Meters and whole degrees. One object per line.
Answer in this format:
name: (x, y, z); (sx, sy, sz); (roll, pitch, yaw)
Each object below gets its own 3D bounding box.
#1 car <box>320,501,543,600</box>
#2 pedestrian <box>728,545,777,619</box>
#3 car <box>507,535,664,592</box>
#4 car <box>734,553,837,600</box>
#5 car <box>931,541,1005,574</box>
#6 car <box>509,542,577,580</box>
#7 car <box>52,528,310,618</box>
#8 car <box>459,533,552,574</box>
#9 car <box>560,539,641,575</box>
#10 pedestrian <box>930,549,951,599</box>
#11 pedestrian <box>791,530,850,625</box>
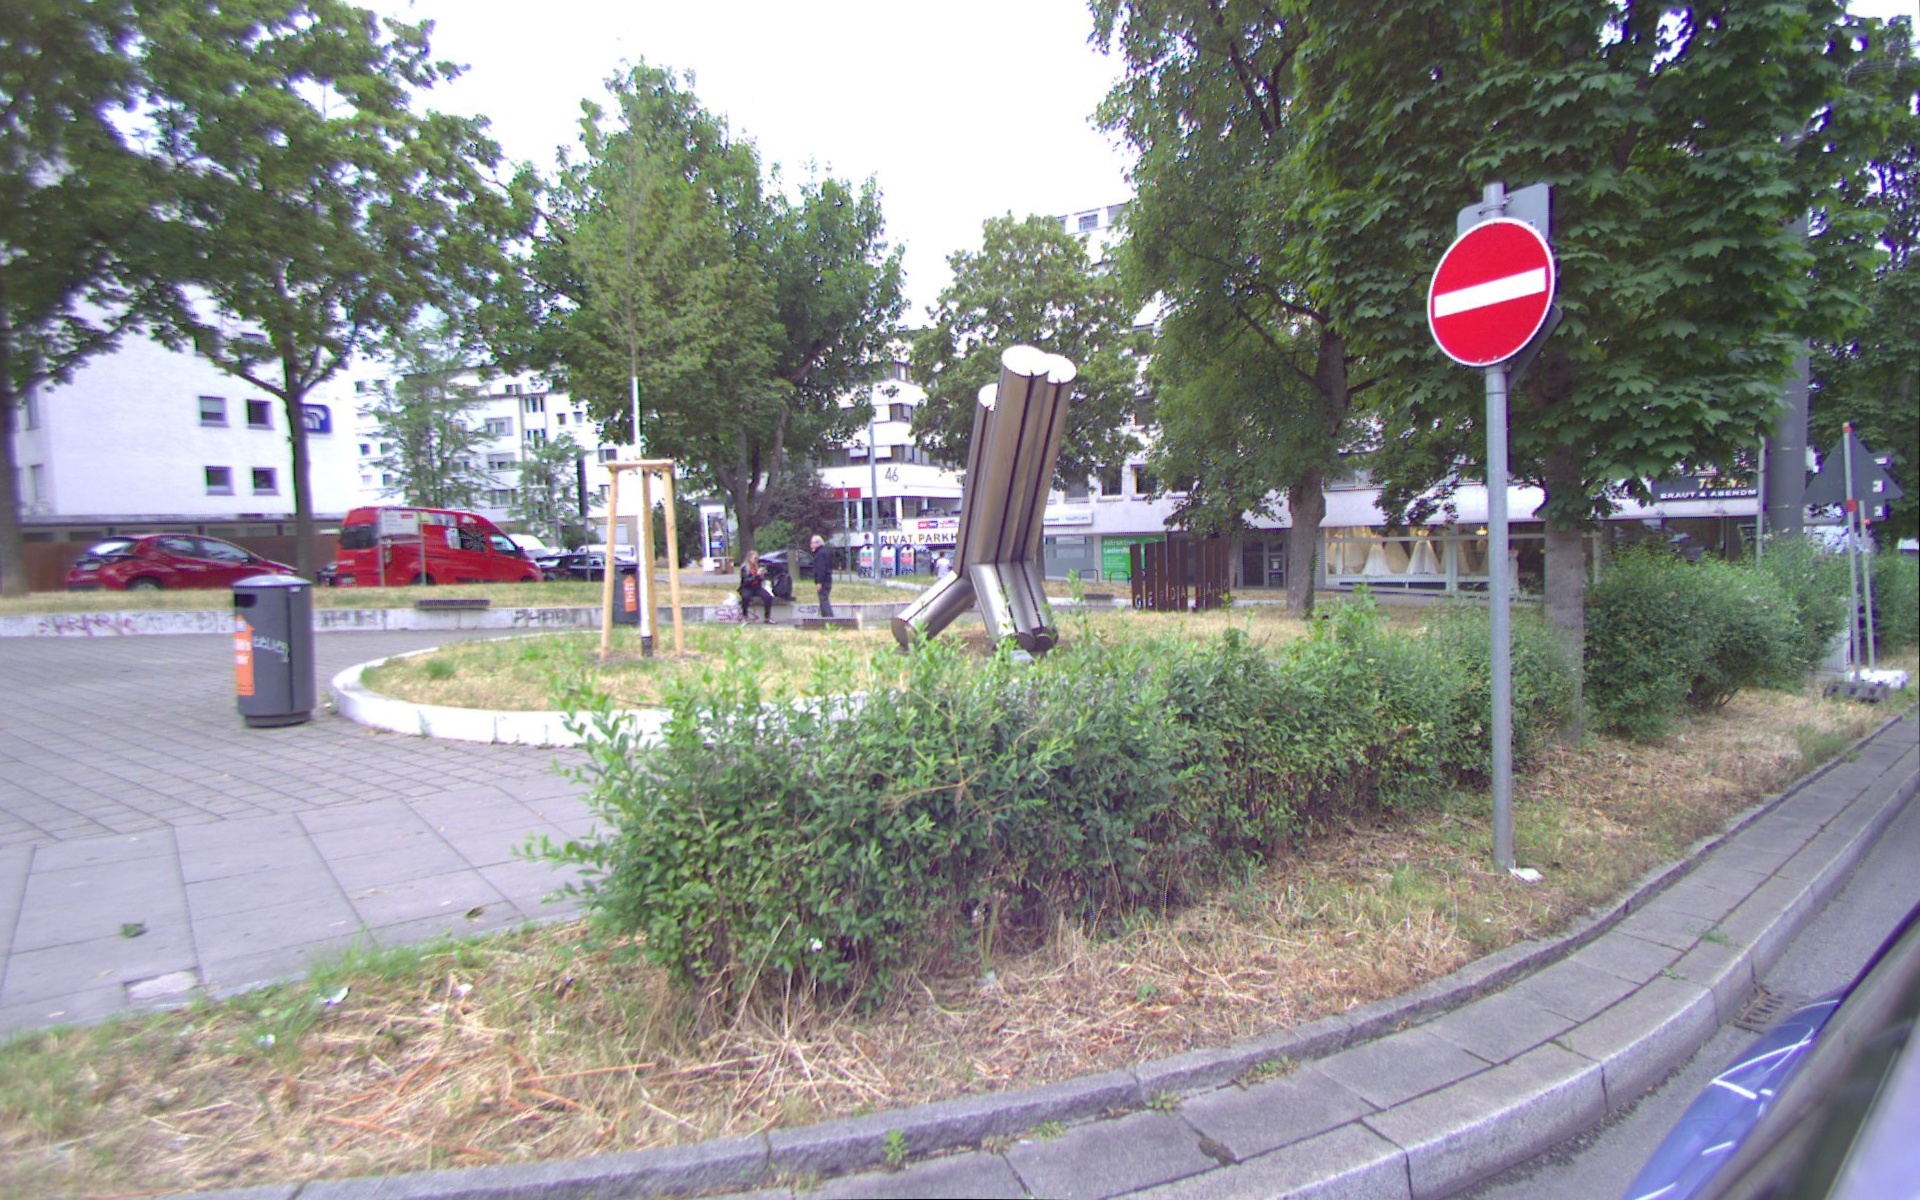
car: (-13.085, -1.218, 25.447); (2.101, 2.240, 4.862); (1, 2, 20)
pedestrian: (-3.736, -0.331, 18.180); (0.672, 1.308, 0.657); (-1, 2, -32)
car: (-11.072, -1.092, 30.267); (1.977, 1.584, 4.384); (2, 2, 22)
car: (-7.046, -0.985, 41.378); (1.977, 1.762, 4.750); (2, 2, 22)
car: (0.418, -2.362, 57.121); (3.977, 1.708, 1.667); (-1, 0, 38)
car: (-25.626, -2.426, 62.165); (3.968, 2.271, 1.985); (2, 2, 34)
car: (-15.163, -0.557, 19.925); (1.729, 1.584, 3.691); (2, 2, 22)
car: (-22.098, -2.243, 49.138); (4.582, 1.900, 2.078); (2, 2, 35)
car: (-20.745, -2.488, 58.328); (4.760, 1.969, 2.198); (3, 3, 38)
pedestrian: (-0.610, -0.811, 31.768); (0.517, 1.552, 0.676); (0, 2, -15)
pedestrian: (-2.466, -0.409, 17.927); (0.719, 1.622, 0.786); (1, 2, 26)
